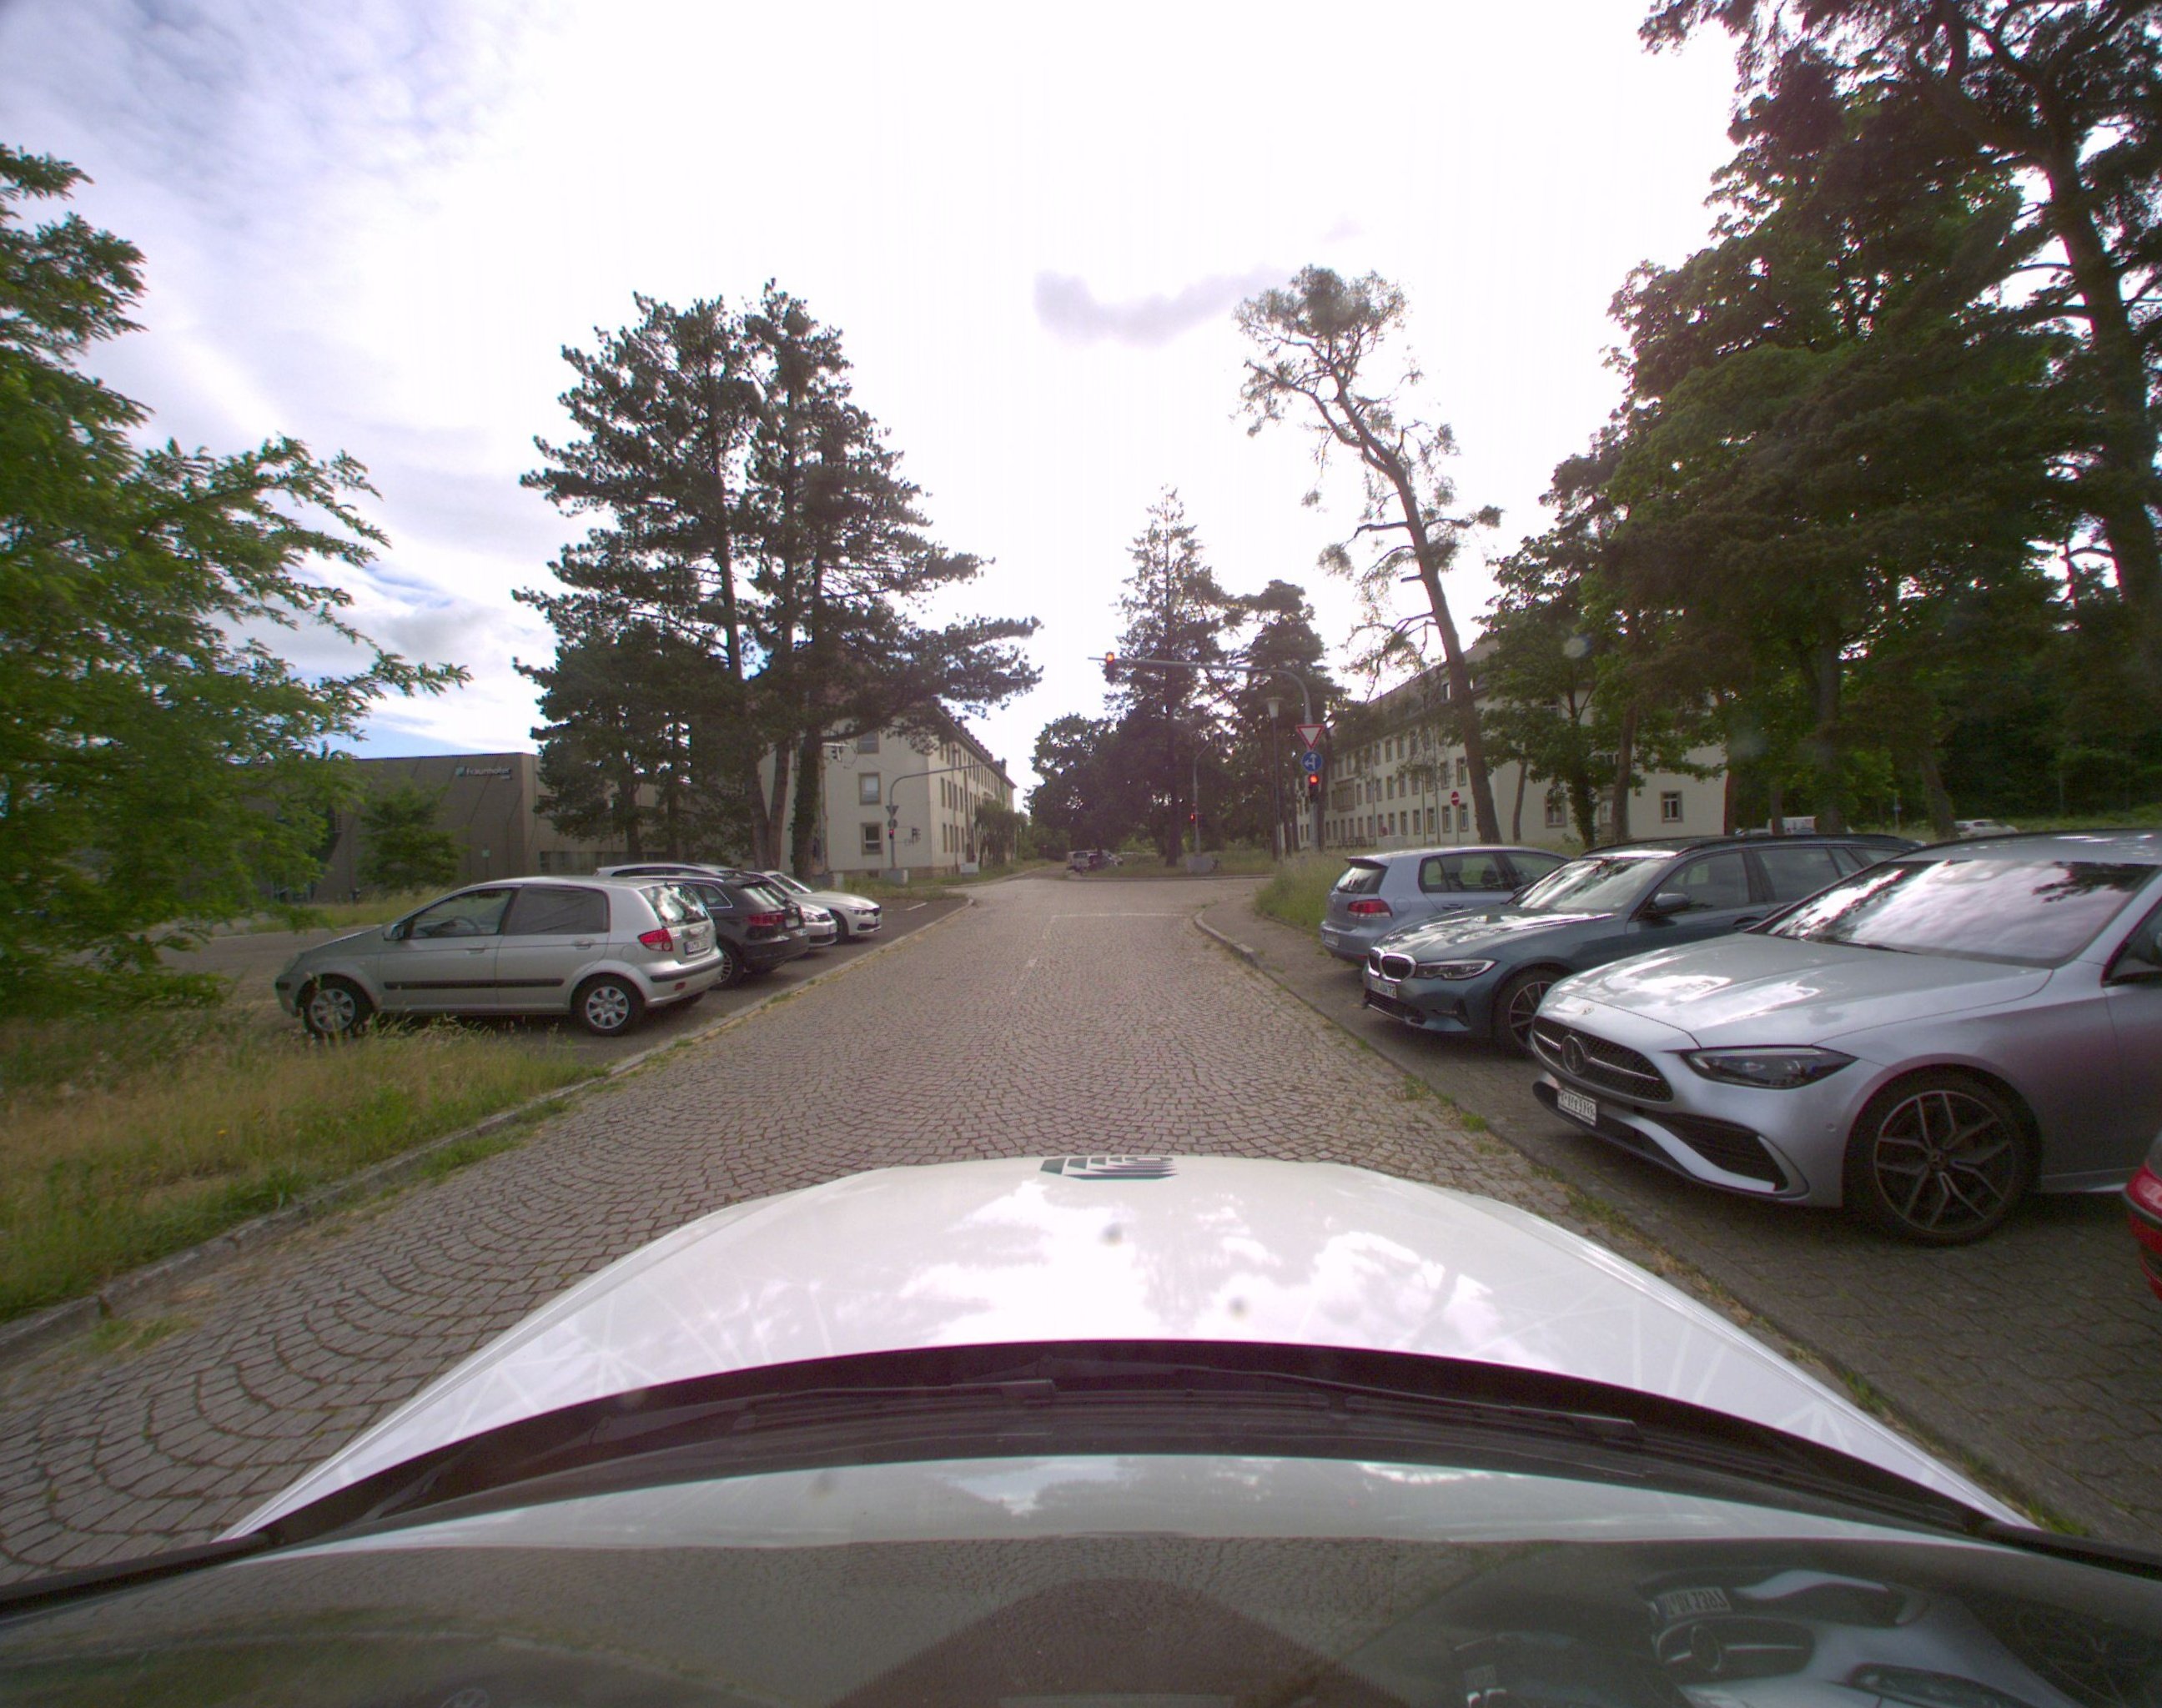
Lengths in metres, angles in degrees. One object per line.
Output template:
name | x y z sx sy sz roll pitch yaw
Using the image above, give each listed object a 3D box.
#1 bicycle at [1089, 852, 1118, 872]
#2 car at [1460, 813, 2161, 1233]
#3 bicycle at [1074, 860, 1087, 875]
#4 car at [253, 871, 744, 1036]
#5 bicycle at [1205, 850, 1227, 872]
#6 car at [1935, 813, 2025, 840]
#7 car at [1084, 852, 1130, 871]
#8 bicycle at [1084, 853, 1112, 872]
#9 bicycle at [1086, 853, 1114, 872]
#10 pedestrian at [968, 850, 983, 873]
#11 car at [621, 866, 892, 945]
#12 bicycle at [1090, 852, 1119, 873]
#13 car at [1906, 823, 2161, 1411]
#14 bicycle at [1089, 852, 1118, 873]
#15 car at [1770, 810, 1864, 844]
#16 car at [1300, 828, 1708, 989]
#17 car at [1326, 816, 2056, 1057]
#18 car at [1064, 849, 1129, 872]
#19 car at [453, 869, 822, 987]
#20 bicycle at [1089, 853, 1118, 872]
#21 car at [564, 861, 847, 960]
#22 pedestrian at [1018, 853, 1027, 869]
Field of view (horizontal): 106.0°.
bicycle | 1.654 0.616 59.694 2.062 1.378 0.620 -2 0 1
car | 4.653 0.578 3.970 4.741 1.482 1.812 -3 0 0
bicycle | -0.011 0.947 56.604 0.614 0.963 2.081 -2 0 7
car | -5.676 0.917 8.382 3.671 1.452 1.806 0 0 -4
bicycle | 7.615 0.397 46.113 0.906 1.177 1.874 -2 0 0
car | 57.254 -1.722 51.933 3.469 1.507 2.001 -2 0 1
car | 2.278 0.681 72.918 3.925 1.544 1.997 -2 0 -5
bicycle | 1.334 0.645 62.776 2.062 1.378 0.620 -2 0 1
bicycle | 1.454 0.630 61.290 2.062 1.378 0.620 -2 0 1
pedestrian | -9.560 0.697 73.931 1.081 2.013 1.023 -2 0 6
car | -6.282 0.971 16.198 4.637 1.444 1.799 0 0 -4
bicycle | 1.687 0.606 58.399 2.062 1.378 0.620 -2 0 1
car | 4.634 0.577 1.708 3.948 1.452 1.800 -3 0 0
bicycle | 1.651 0.611 59.070 2.062 1.378 0.620 -2 0 1
car | 56.617 -2.046 62.726 5.161 2.288 2.214 -2 0 1
car | 4.603 0.557 9.242 3.751 1.426 1.605 -4 0 -1
car | 4.668 0.567 6.680 4.746 1.482 1.760 -3 0 -3
car | 1.418 0.576 76.291 5.696 1.910 2.221 -2 0 -12
car | -5.761 0.931 10.963 3.975 1.427 1.750 0 0 -1
bicycle | 1.671 0.623 60.473 2.062 1.378 0.620 -2 0 1
car | -6.197 0.895 13.819 3.979 1.547 1.722 0 0 -4
pedestrian | -7.634 0.874 105.835 0.953 2.013 0.797 -2 0 10
